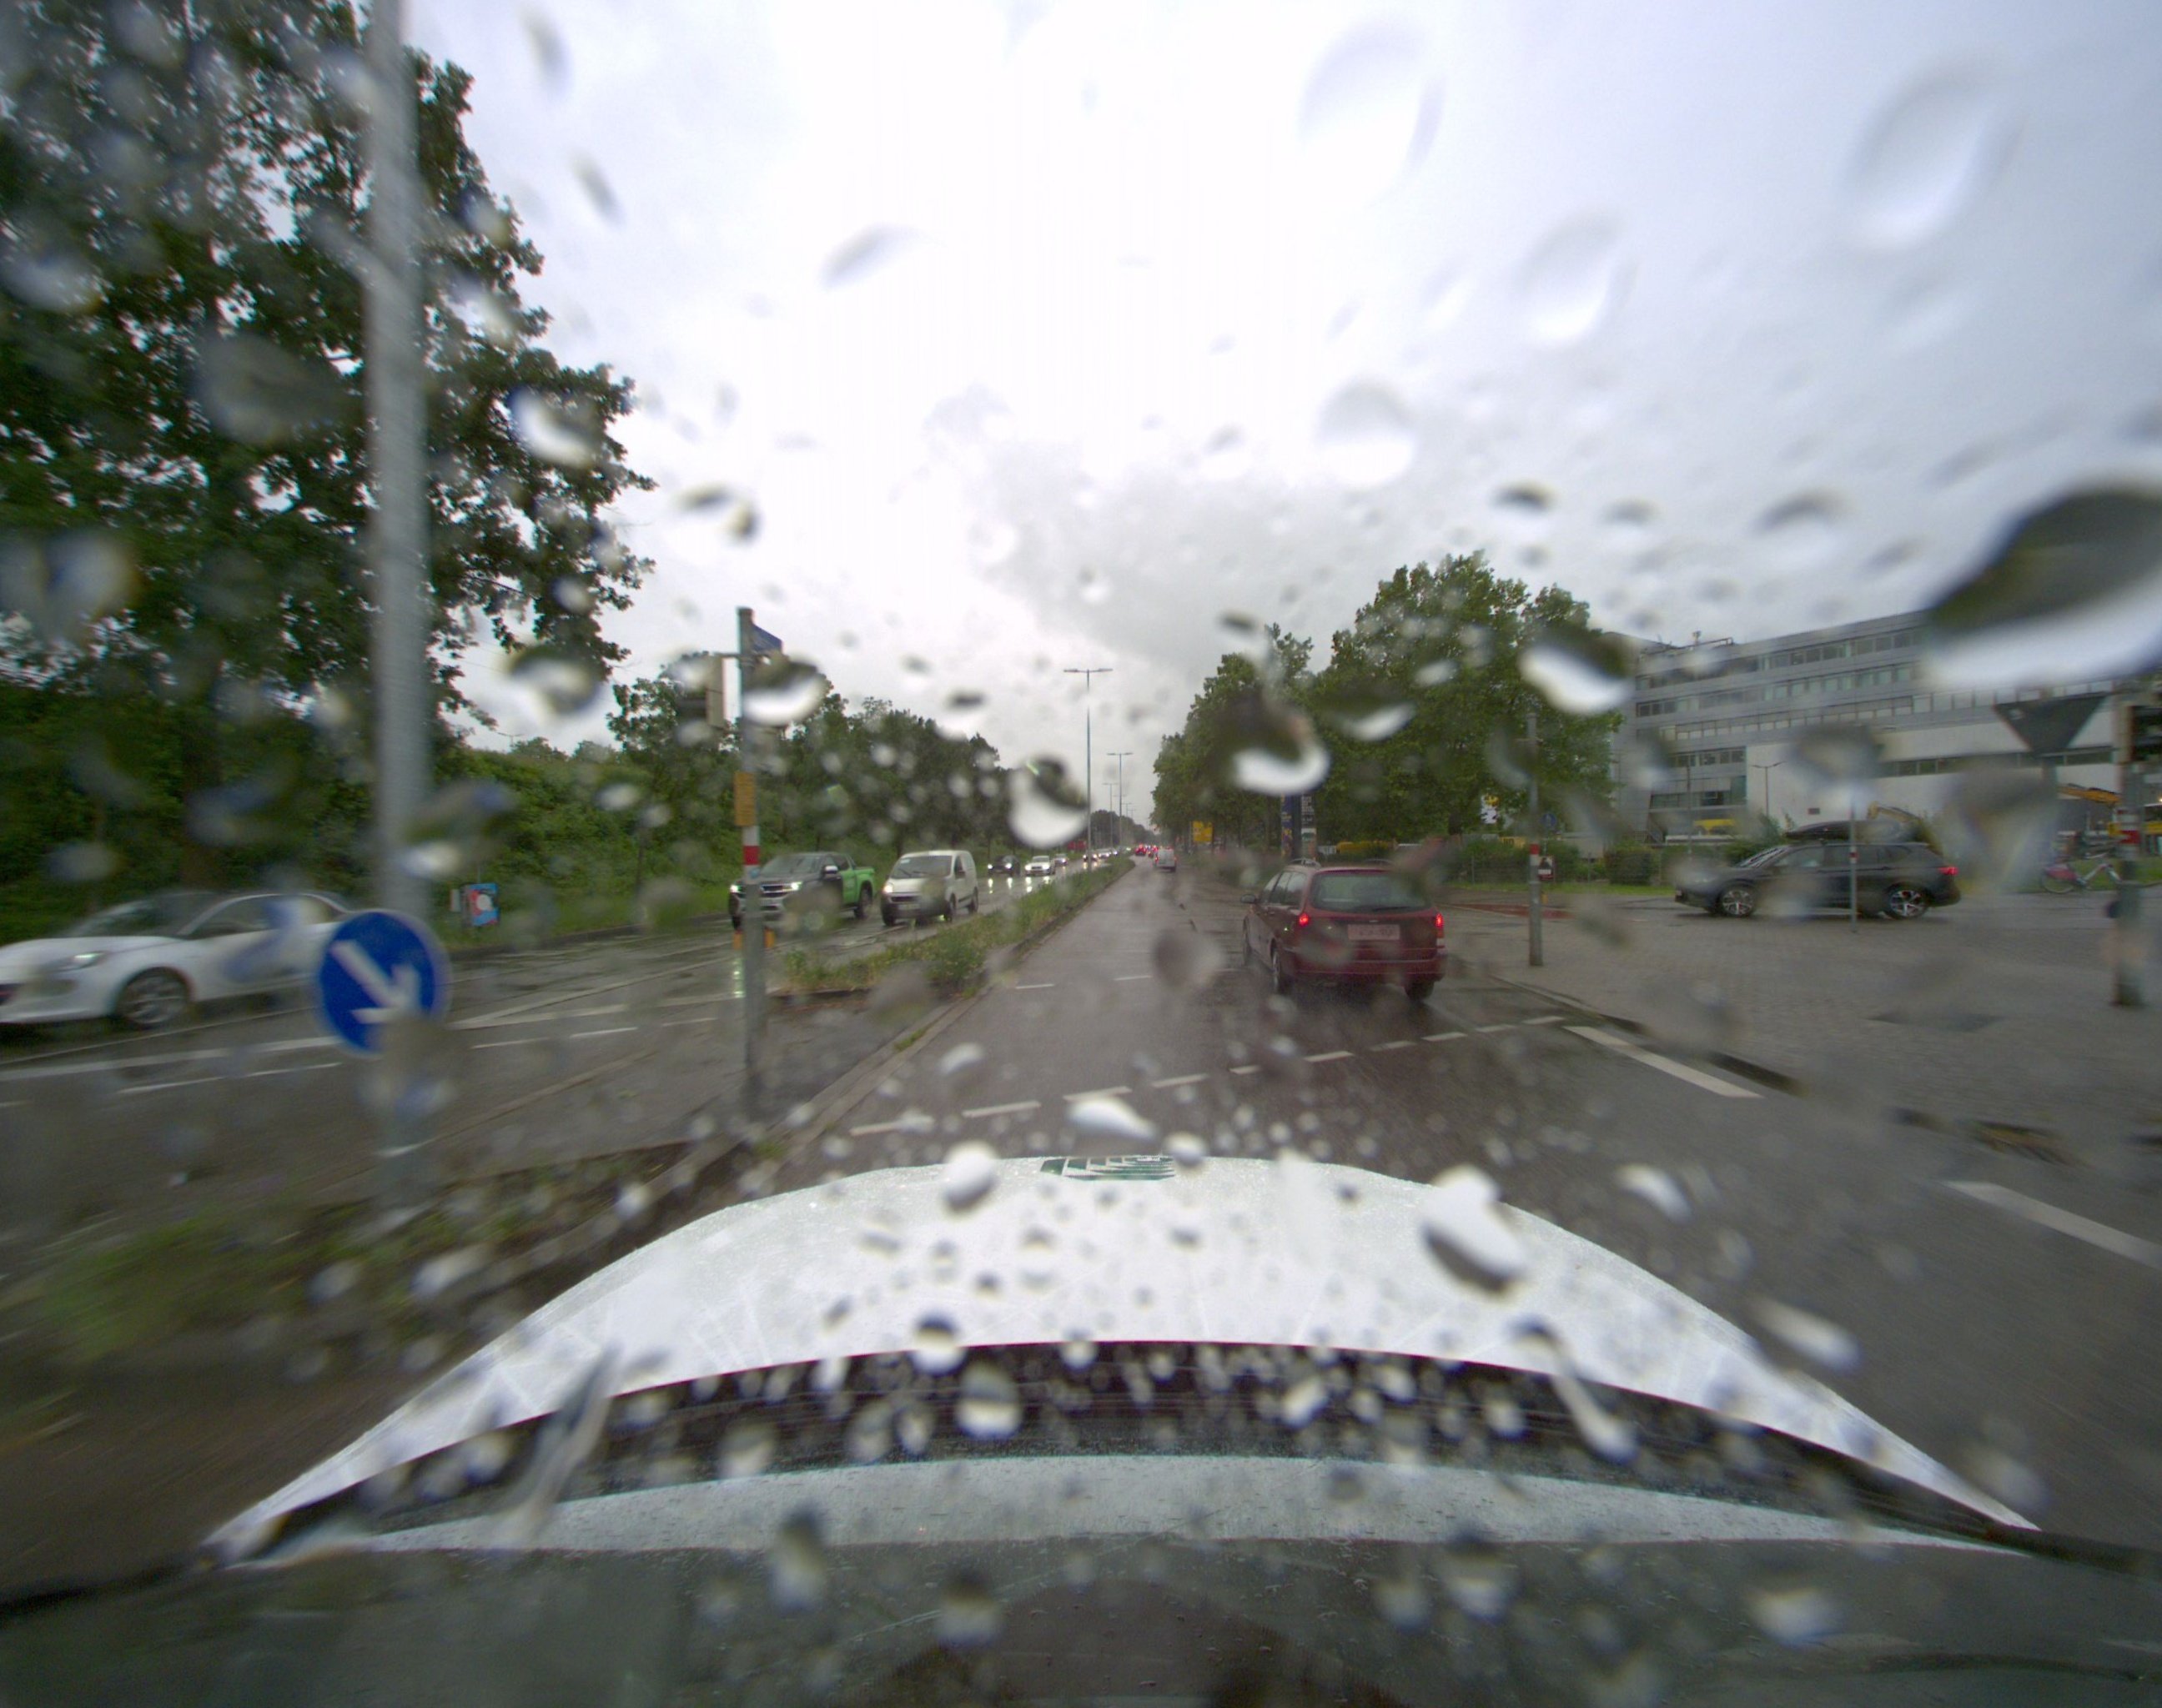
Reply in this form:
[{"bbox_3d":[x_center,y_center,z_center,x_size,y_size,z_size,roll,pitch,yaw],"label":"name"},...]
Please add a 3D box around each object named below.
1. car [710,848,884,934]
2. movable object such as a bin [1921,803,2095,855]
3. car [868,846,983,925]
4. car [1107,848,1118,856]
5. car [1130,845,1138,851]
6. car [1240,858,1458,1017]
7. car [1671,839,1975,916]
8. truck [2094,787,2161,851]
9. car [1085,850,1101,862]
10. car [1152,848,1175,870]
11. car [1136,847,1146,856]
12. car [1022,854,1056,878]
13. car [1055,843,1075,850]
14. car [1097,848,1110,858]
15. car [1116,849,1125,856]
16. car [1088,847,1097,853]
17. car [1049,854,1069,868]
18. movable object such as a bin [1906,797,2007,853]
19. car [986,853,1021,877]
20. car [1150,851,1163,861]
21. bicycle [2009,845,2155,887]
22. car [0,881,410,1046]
[{"bbox_3d":[-6.856,0.800,20.493,2.056,1.819,5.548,-1,0,4],"label":"car"},{"bbox_3d":[57.633,-1.480,50.818,3.339,2.995,6.655,-2,0,-31],"label":"movable object such as a bin"},{"bbox_3d":[-3.774,0.704,20.582,1.736,1.702,4.289,-3,0,4],"label":"car"},{"bbox_3d":[6.033,-0.393,156.645,1.954,1.597,4.290,-1,0,5],"label":"car"},{"bbox_3d":[12.828,-1.418,196.709,1.689,1.528,3.853,-1,0,7],"label":"car"},{"bbox_3d":[2.992,0.828,9.879,1.635,1.465,3.737,1,1,4],"label":"car"},{"bbox_3d":[15.982,0.499,17.908,4.588,1.524,1.810,-1,0,25],"label":"car"},{"bbox_3d":[61.292,-1.979,44.004,3.339,3.507,7.813,-2,0,-30],"label":"truck"},{"bbox_3d":[1.669,0.287,114.124,1.954,1.597,4.289,-1,0,4],"label":"car"},{"bbox_3d":[6.665,0.383,65.864,1.728,1.726,4.249,1,0,4],"label":"car"},{"bbox_3d":[11.456,-0.507,154.563,1.689,1.528,3.853,-1,0,7],"label":"car"},{"bbox_3d":[-3.134,0.874,61.522,1.954,1.702,4.289,-1,0,4],"label":"car"},{"bbox_3d":[-3.808,-1.753,196.812,4.297,1.597,1.950,-2,0,-31],"label":"car"},{"bbox_3d":[3.709,-0.153,133.503,1.954,1.597,4.290,-1,0,5],"label":"car"},{"bbox_3d":[8.784,-0.363,180.310,1.954,1.597,4.290,-1,0,5],"label":"car"},{"bbox_3d":[2.782,-0.984,198.674,1.954,1.597,4.289,-1,0,4],"label":"car"},{"bbox_3d":[-2.633,0.848,98.212,1.954,1.597,4.289,-1,0,4],"label":"car"},{"bbox_3d":[50.180,-1.637,46.695,3.339,2.995,3.298,-2,0,-31],"label":"movable object such as a bin"},{"bbox_3d":[-5.950,0.816,62.824,1.954,1.702,4.289,-1,0,4],"label":"car"},{"bbox_3d":[12.945,0.328,139.539,2.136,1.528,4.201,-1,0,7],"label":"car"},{"bbox_3d":[26.335,0.318,21.491,2.285,1.046,0.854,-1,0,24],"label":"bicycle"},{"bbox_3d":[-10.460,1.116,9.682,1.583,1.404,3.827,-1,0,4],"label":"car"}]
